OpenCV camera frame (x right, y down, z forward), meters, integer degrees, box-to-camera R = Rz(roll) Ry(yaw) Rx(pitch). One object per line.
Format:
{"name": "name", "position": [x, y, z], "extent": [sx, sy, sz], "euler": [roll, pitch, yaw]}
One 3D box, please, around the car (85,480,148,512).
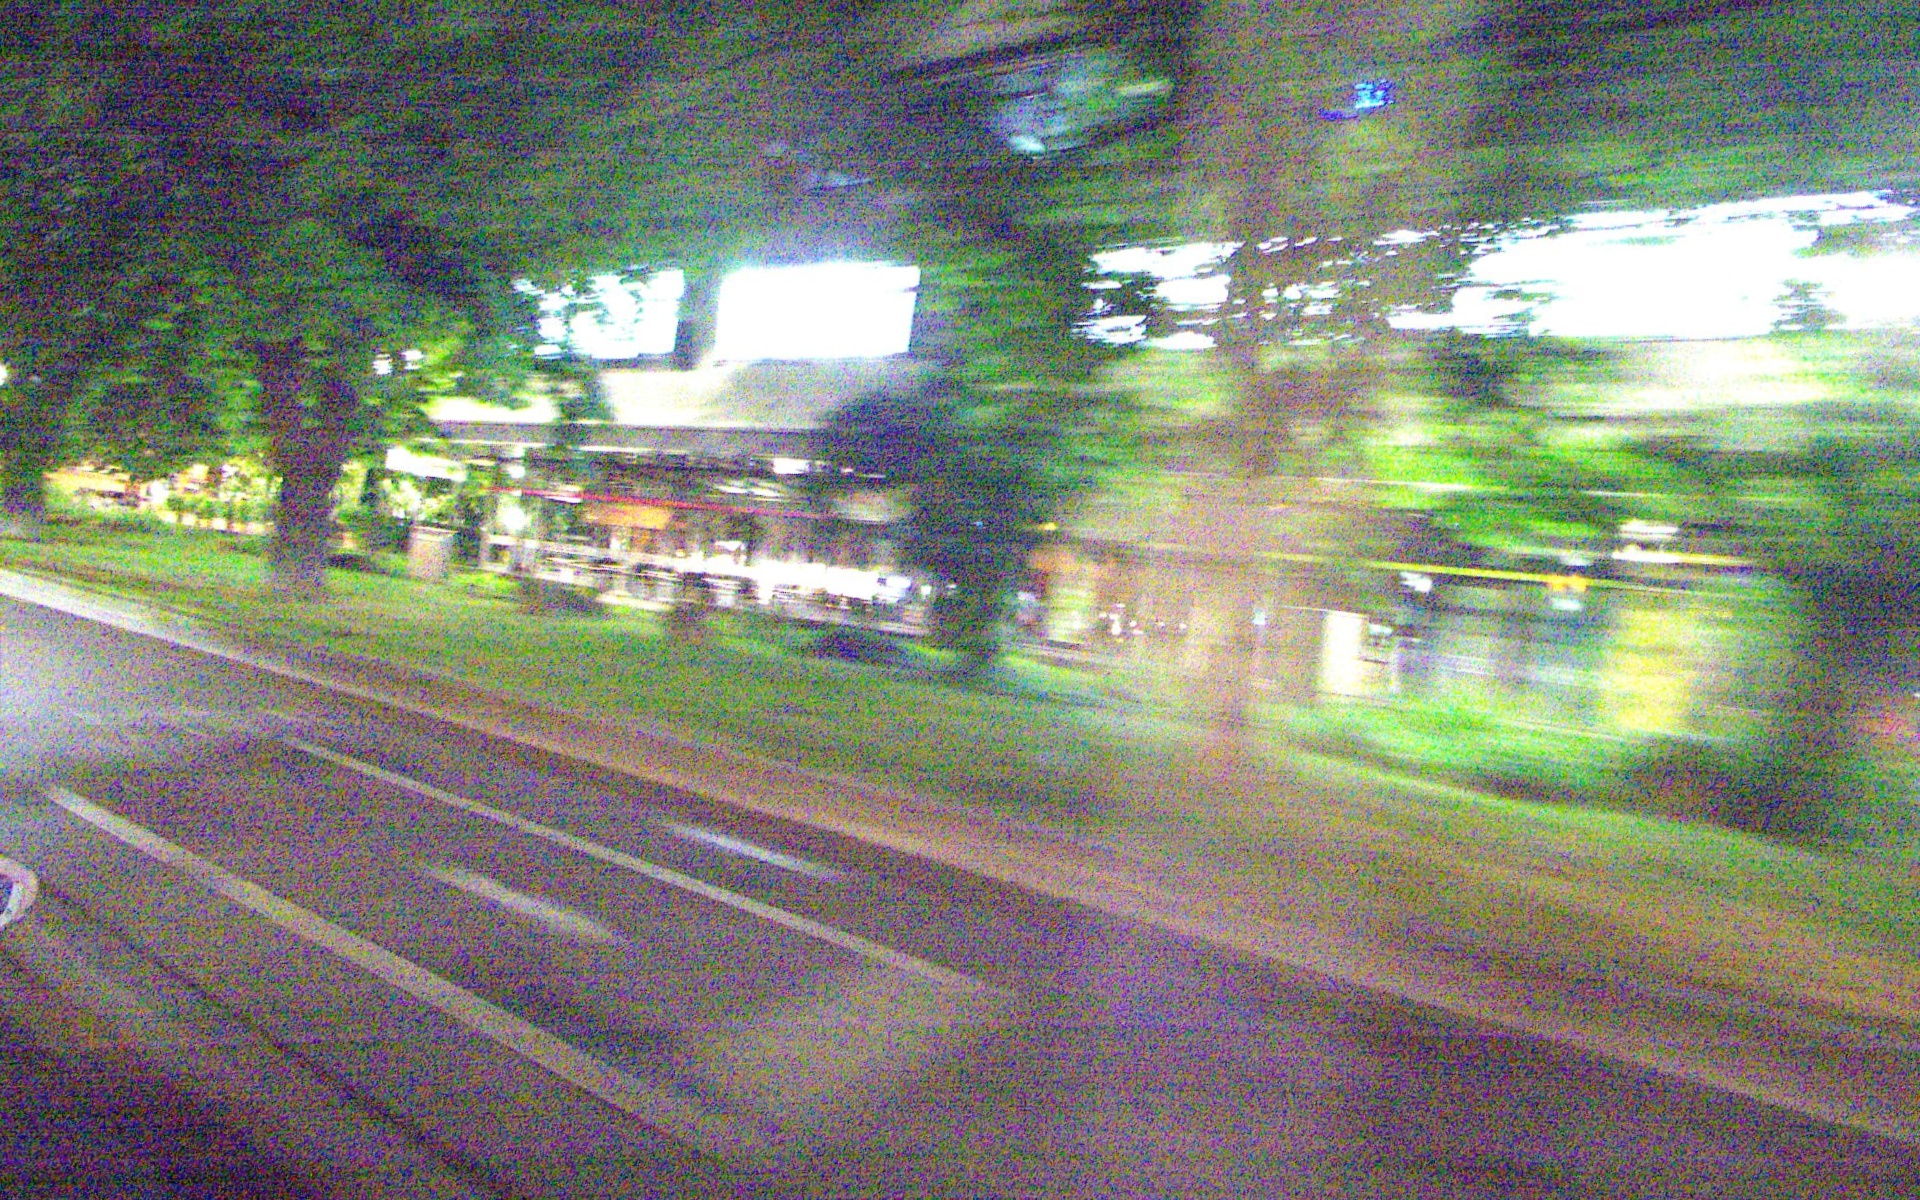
{"name": "car", "position": [-53.429, -6.587, 63.685], "extent": [4.030, 1.552, 1.770], "euler": [7, 1, 31]}
